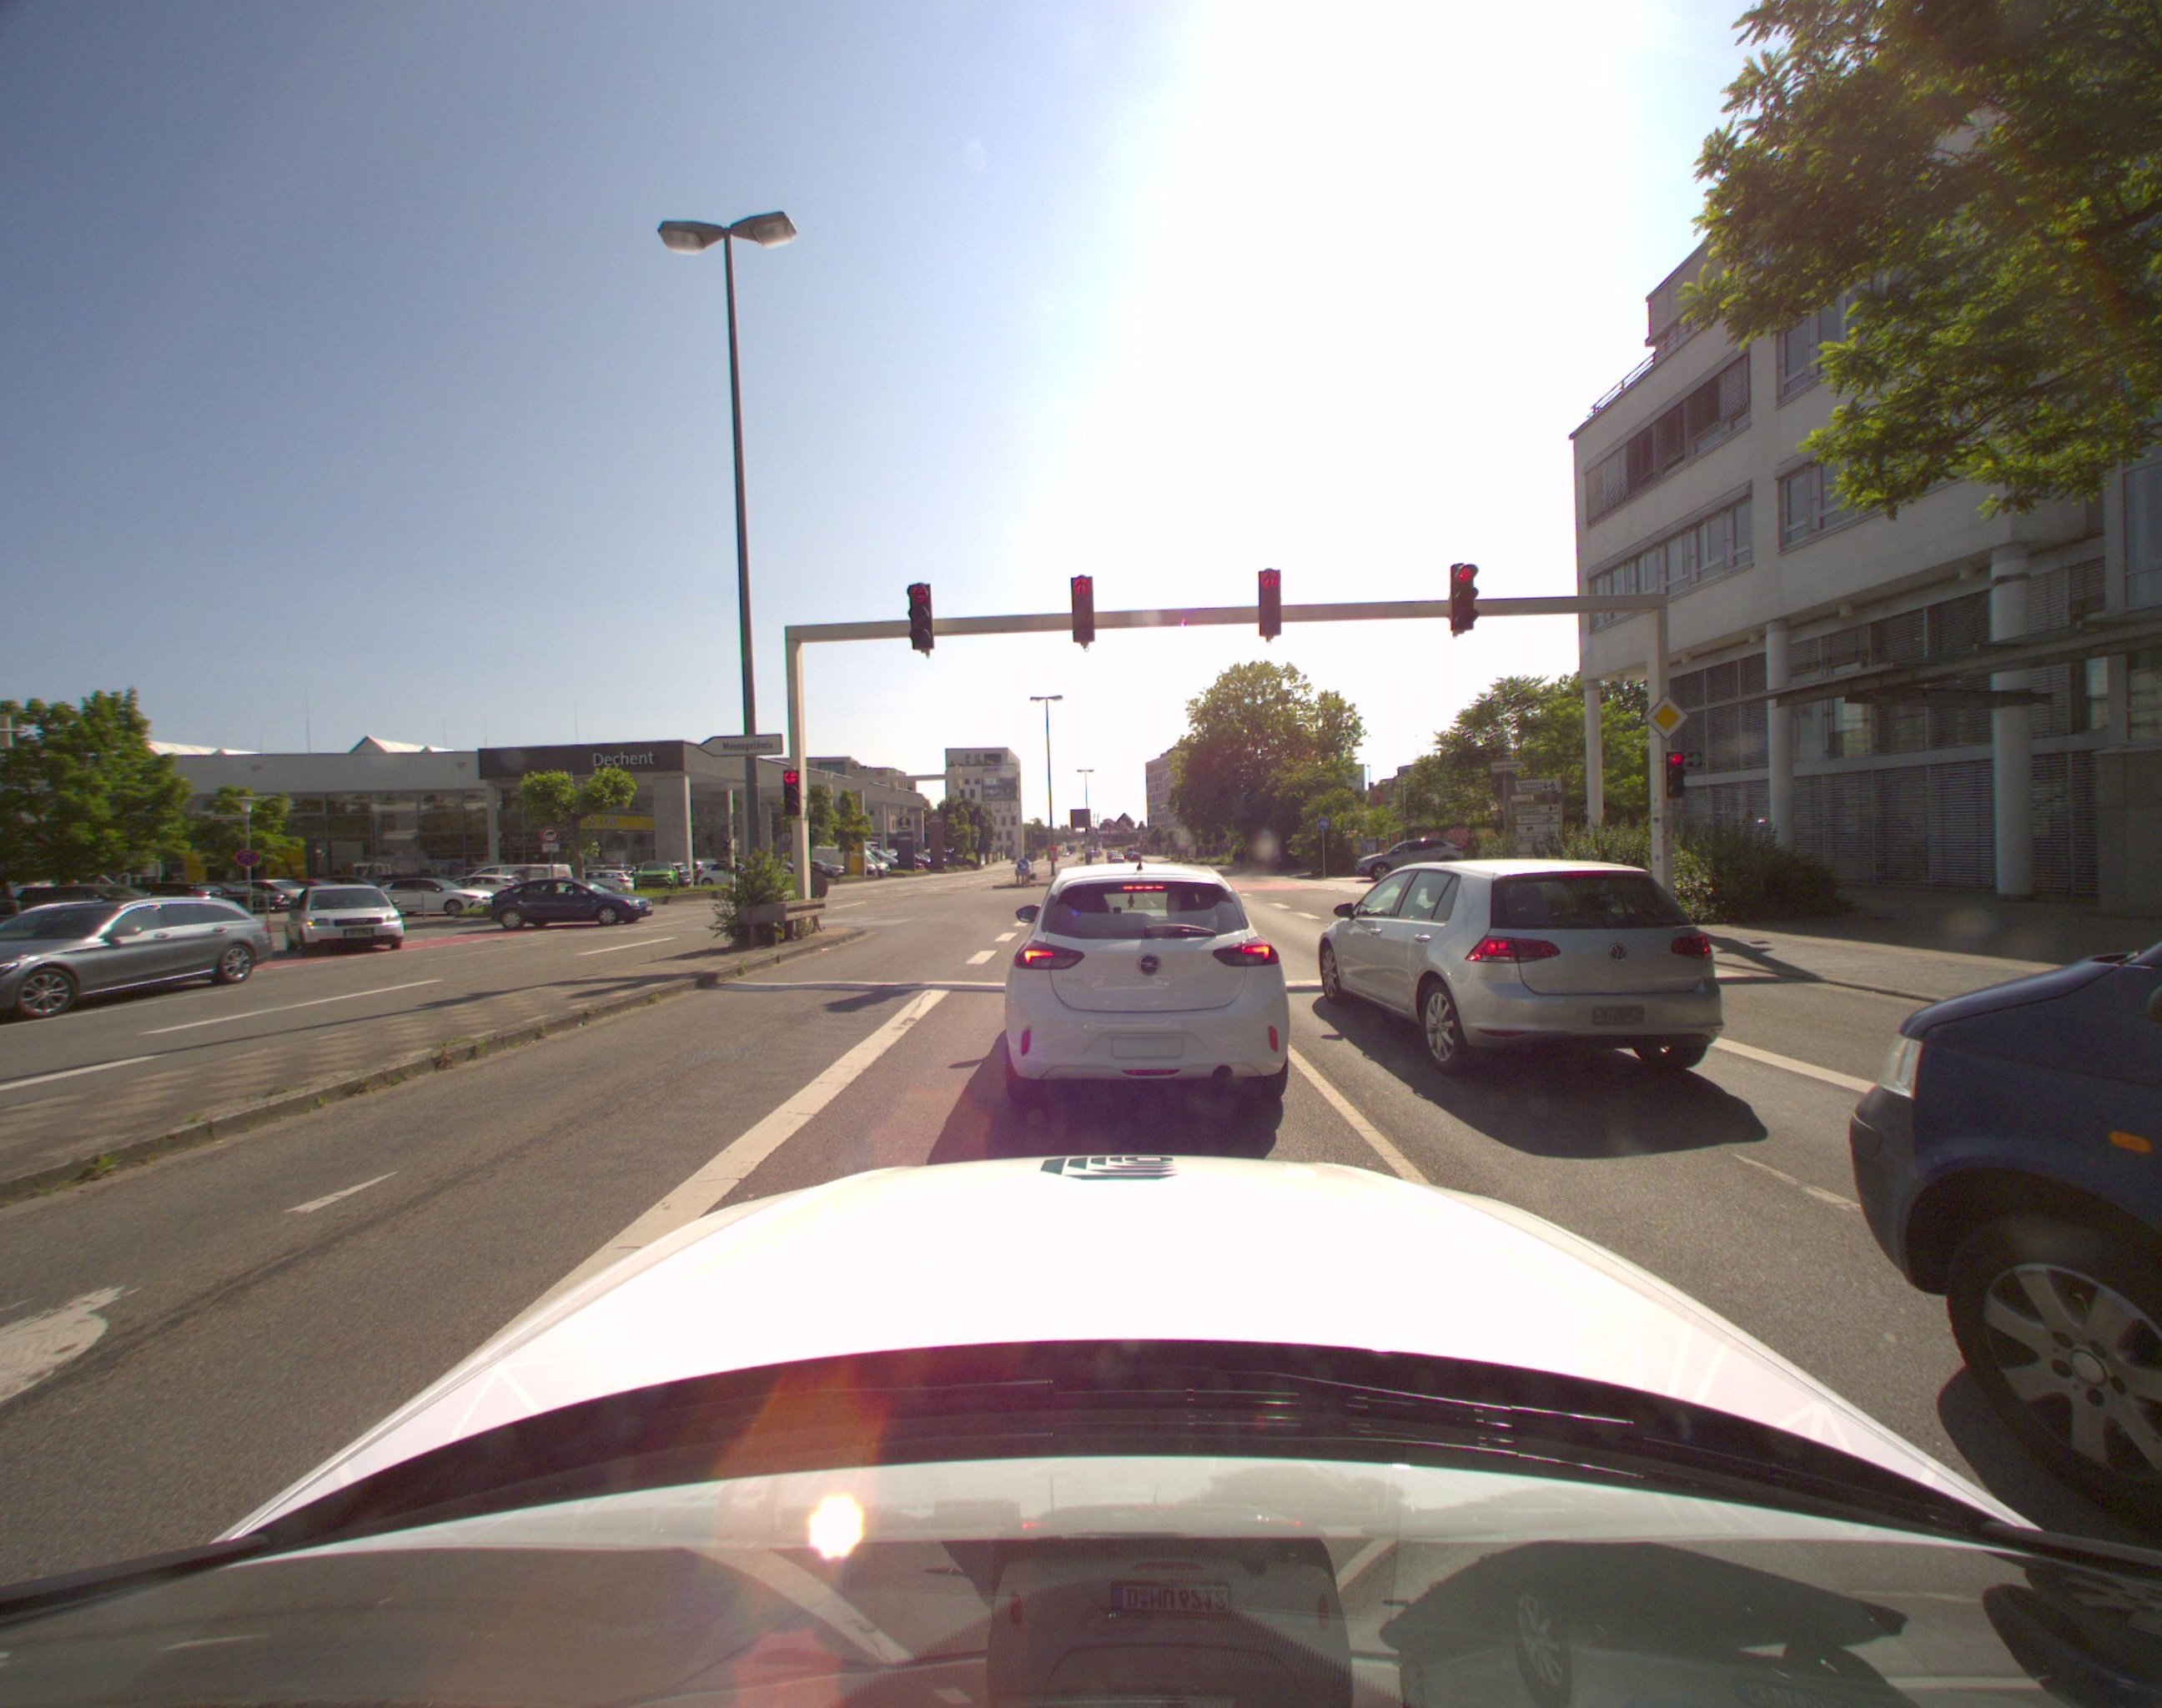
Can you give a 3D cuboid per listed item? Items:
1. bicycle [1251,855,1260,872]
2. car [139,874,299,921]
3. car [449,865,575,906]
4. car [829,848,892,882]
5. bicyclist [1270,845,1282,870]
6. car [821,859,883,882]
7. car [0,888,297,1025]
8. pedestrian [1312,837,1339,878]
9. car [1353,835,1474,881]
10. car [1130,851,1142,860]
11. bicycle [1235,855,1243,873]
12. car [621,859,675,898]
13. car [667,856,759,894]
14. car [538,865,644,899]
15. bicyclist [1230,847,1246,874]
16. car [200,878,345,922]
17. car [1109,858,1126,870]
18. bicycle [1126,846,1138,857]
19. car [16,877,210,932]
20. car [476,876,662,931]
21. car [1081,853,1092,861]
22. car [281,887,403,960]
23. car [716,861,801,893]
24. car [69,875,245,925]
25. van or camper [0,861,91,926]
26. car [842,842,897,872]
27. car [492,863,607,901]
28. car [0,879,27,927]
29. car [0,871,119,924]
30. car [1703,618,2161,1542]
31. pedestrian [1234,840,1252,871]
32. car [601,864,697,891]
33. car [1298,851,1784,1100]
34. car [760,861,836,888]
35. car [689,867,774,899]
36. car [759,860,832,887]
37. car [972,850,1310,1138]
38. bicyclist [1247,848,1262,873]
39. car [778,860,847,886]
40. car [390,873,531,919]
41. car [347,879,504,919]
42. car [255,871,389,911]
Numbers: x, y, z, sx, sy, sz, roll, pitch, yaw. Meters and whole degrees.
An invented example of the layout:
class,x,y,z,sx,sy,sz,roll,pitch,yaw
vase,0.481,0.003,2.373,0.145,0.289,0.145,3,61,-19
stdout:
class,x,y,z,sx,sy,sz,roll,pitch,yaw
bicycle,11.743,0.644,54.879,0.372,1.147,1.034,0,-1,0
car,-36.134,1.790,34.259,4.348,1.696,1.997,-2,0,-4
car,-26.588,1.436,38.185,4.353,1.696,1.995,-2,0,-7
car,-18.473,0.934,68.351,4.469,2.684,2.134,-2,0,10
bicyclist,13.217,0.248,55.101,0.650,1.637,0.660,0,-1,1
car,-18.507,1.333,65.899,4.334,1.696,2.004,-2,0,6
car,-14.144,1.360,11.627,1.956,1.427,4.570,-3,0,-10
pedestrian,12.421,0.187,41.402,1.023,2.013,1.039,-2,0,1
car,14.009,0.168,34.563,4.389,1.551,2.007,-4,-1,12
car,9.079,0.215,135.273,1.799,1.386,4.001,0,-1,2
bicycle,10.778,0.687,55.645,0.371,1.216,1.154,0,0,2
car,-21.255,1.212,39.954,1.915,1.733,3.258,-2,-1,-35
car,-19.260,1.088,42.776,3.859,1.837,1.999,-2,0,-1
car,-26.159,1.489,43.583,4.352,1.591,1.996,-2,0,-7
bicyclist,10.744,0.429,55.650,0.876,1.772,0.864,-2,0,1
car,-36.638,2.051,37.013,4.348,1.696,1.997,-2,0,-4
car,4.377,1.190,97.318,1.986,1.331,4.001,0,-1,1
bicycle,9.726,-0.491,155.555,1.986,2.157,4.001,-2,0,1
car,-34.917,1.801,29.491,4.348,1.696,1.997,-2,0,-4
car,-15.502,1.474,24.889,4.353,1.447,1.995,-1,0,-8
car,0.946,0.482,142.663,1.799,1.386,4.001,0,-1,2
car,-17.281,1.530,18.988,3.866,1.438,1.789,-2,0,43
car,-19.602,1.375,49.580,4.284,1.765,1.999,-2,0,-1
car,-36.183,1.759,31.994,4.348,1.696,1.997,-2,0,-4
van or camper,-41.949,1.563,31.338,4.711,2.400,1.995,-2,0,-8
car,-19.099,0.265,73.685,4.334,2.601,2.004,-2,0,6
car,-26.829,1.379,41.265,4.353,1.696,1.995,-2,0,-7
car,-40.603,1.818,28.329,4.371,1.696,1.987,-2,0,-20
car,-43.164,1.813,33.696,3.984,2.013,1.995,-2,0,-8
car,3.219,0.443,0.500,1.986,1.948,4.892,-2,-1,2
pedestrian,11.865,0.099,59.634,1.023,2.238,1.039,-2,0,1
car,-24.705,1.368,46.677,4.352,1.268,1.995,-3,-2,-7
car,3.300,0.741,6.888,1.802,1.429,3.999,-2,-1,0
car,-18.984,1.348,54.706,4.343,1.696,1.999,-2,0,-1
car,-20.040,1.646,46.873,3.981,1.599,1.996,-2,0,-6
car,-19.937,1.374,56.959,4.344,1.696,1.999,-2,0,-1
car,0.377,0.755,6.390,1.773,1.494,4.001,-2,0,2
bicyclist,11.695,0.415,54.895,0.687,1.643,0.775,-2,0,-7
car,-19.788,1.408,60.204,4.344,1.696,1.999,-2,0,-1
car,-26.474,1.779,34.876,4.348,1.696,1.997,-2,0,-4
car,-25.537,1.741,31.858,4.348,1.300,1.997,-2,0,-4
car,-36.621,1.768,39.412,4.352,1.696,1.995,-2,0,-7
